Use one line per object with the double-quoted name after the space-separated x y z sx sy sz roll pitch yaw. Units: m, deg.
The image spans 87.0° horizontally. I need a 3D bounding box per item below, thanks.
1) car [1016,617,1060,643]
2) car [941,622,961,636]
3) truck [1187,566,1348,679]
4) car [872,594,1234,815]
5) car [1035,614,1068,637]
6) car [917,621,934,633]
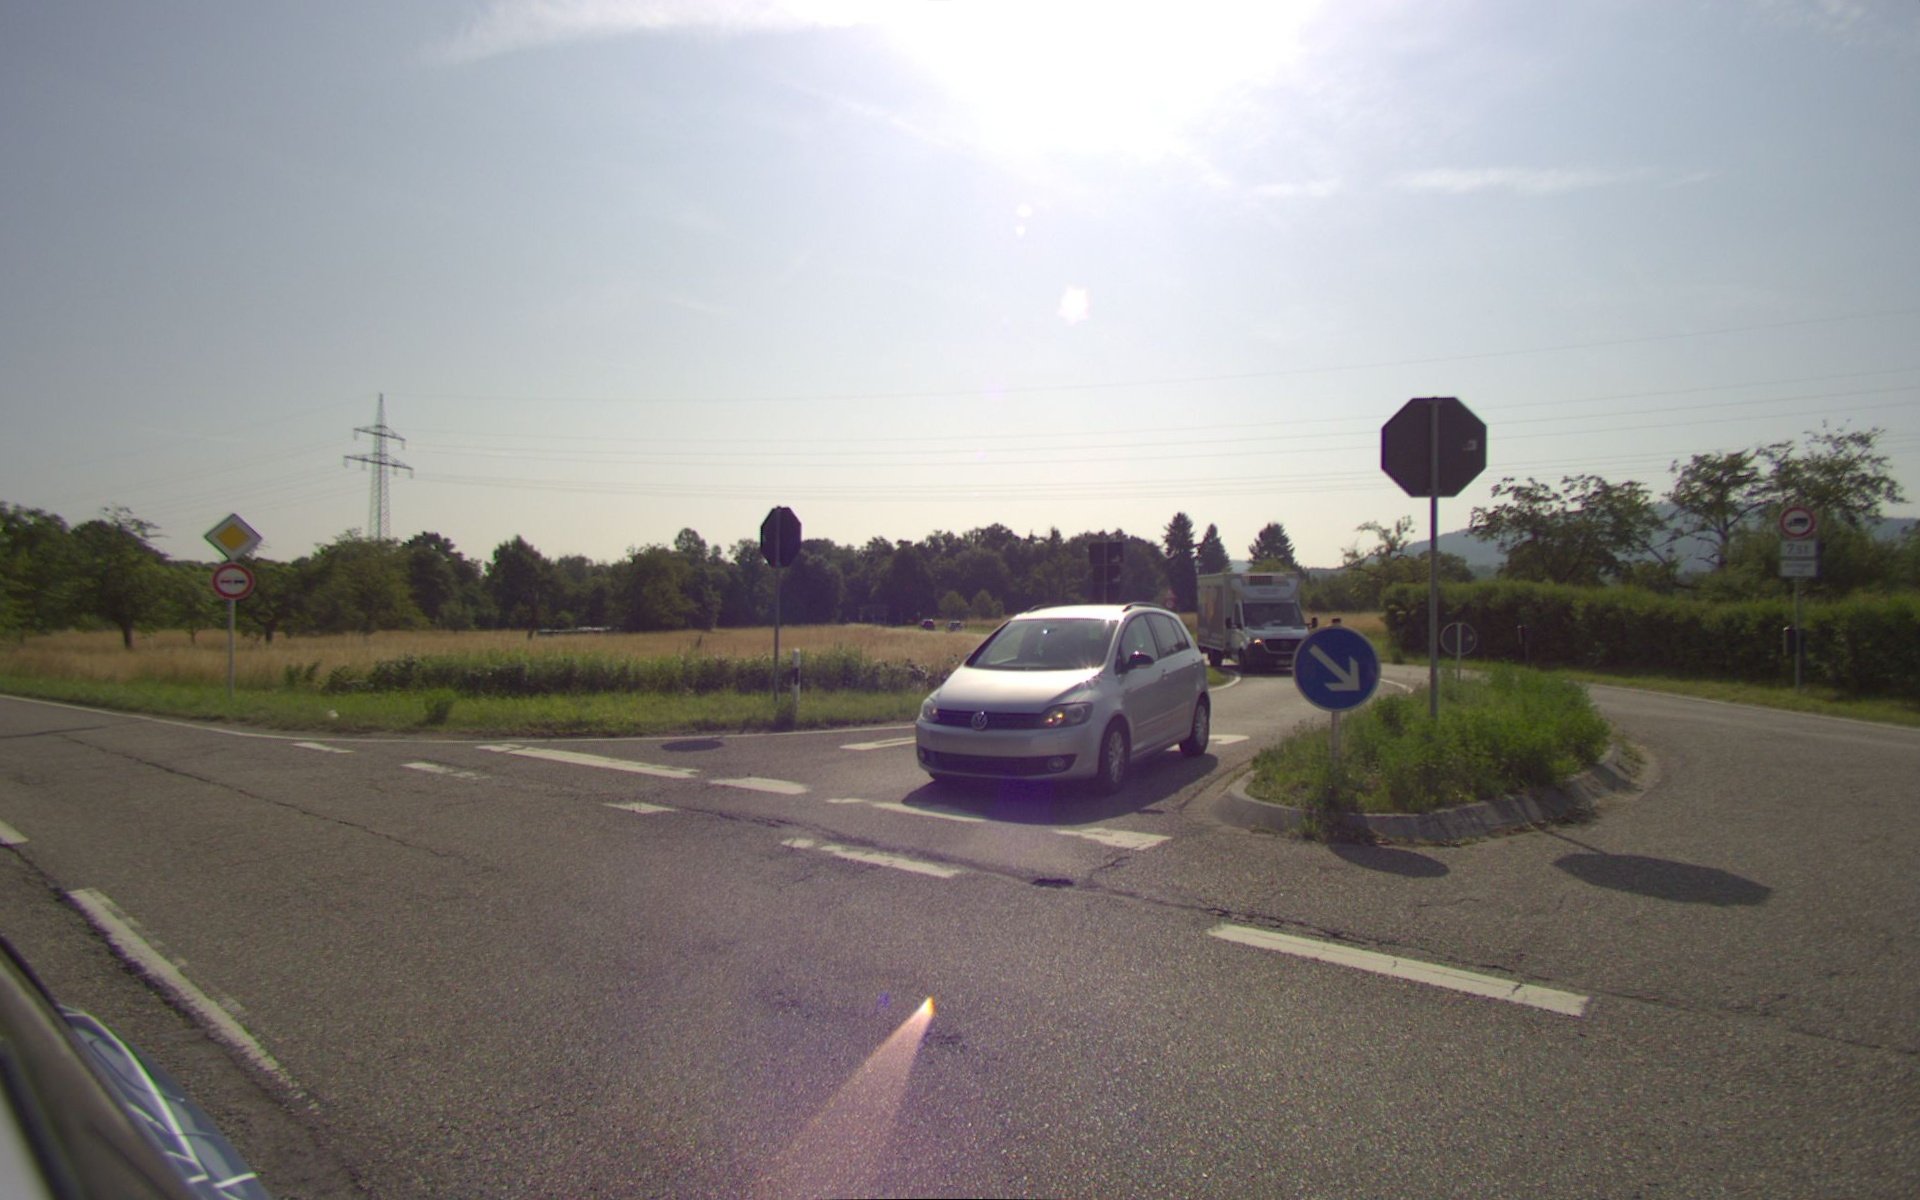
4.991 1.892 65.455 1.788 1.564 4.009 -1 0 -11 "car"
-1.118 3.478 121.551 1.789 1.564 4.009 -1 0 -10 "car"
9.320 0.678 31.667 2.547 3.068 7.366 -1 -1 -1 "truck"
1.086 0.801 9.500 1.991 1.592 3.870 -2 -1 29 "car"
6.903 1.881 76.642 1.733 1.650 3.907 -1 0 -5 "car"
-5.014 3.912 145.526 1.789 1.564 4.008 -1 0 -10 "car"
